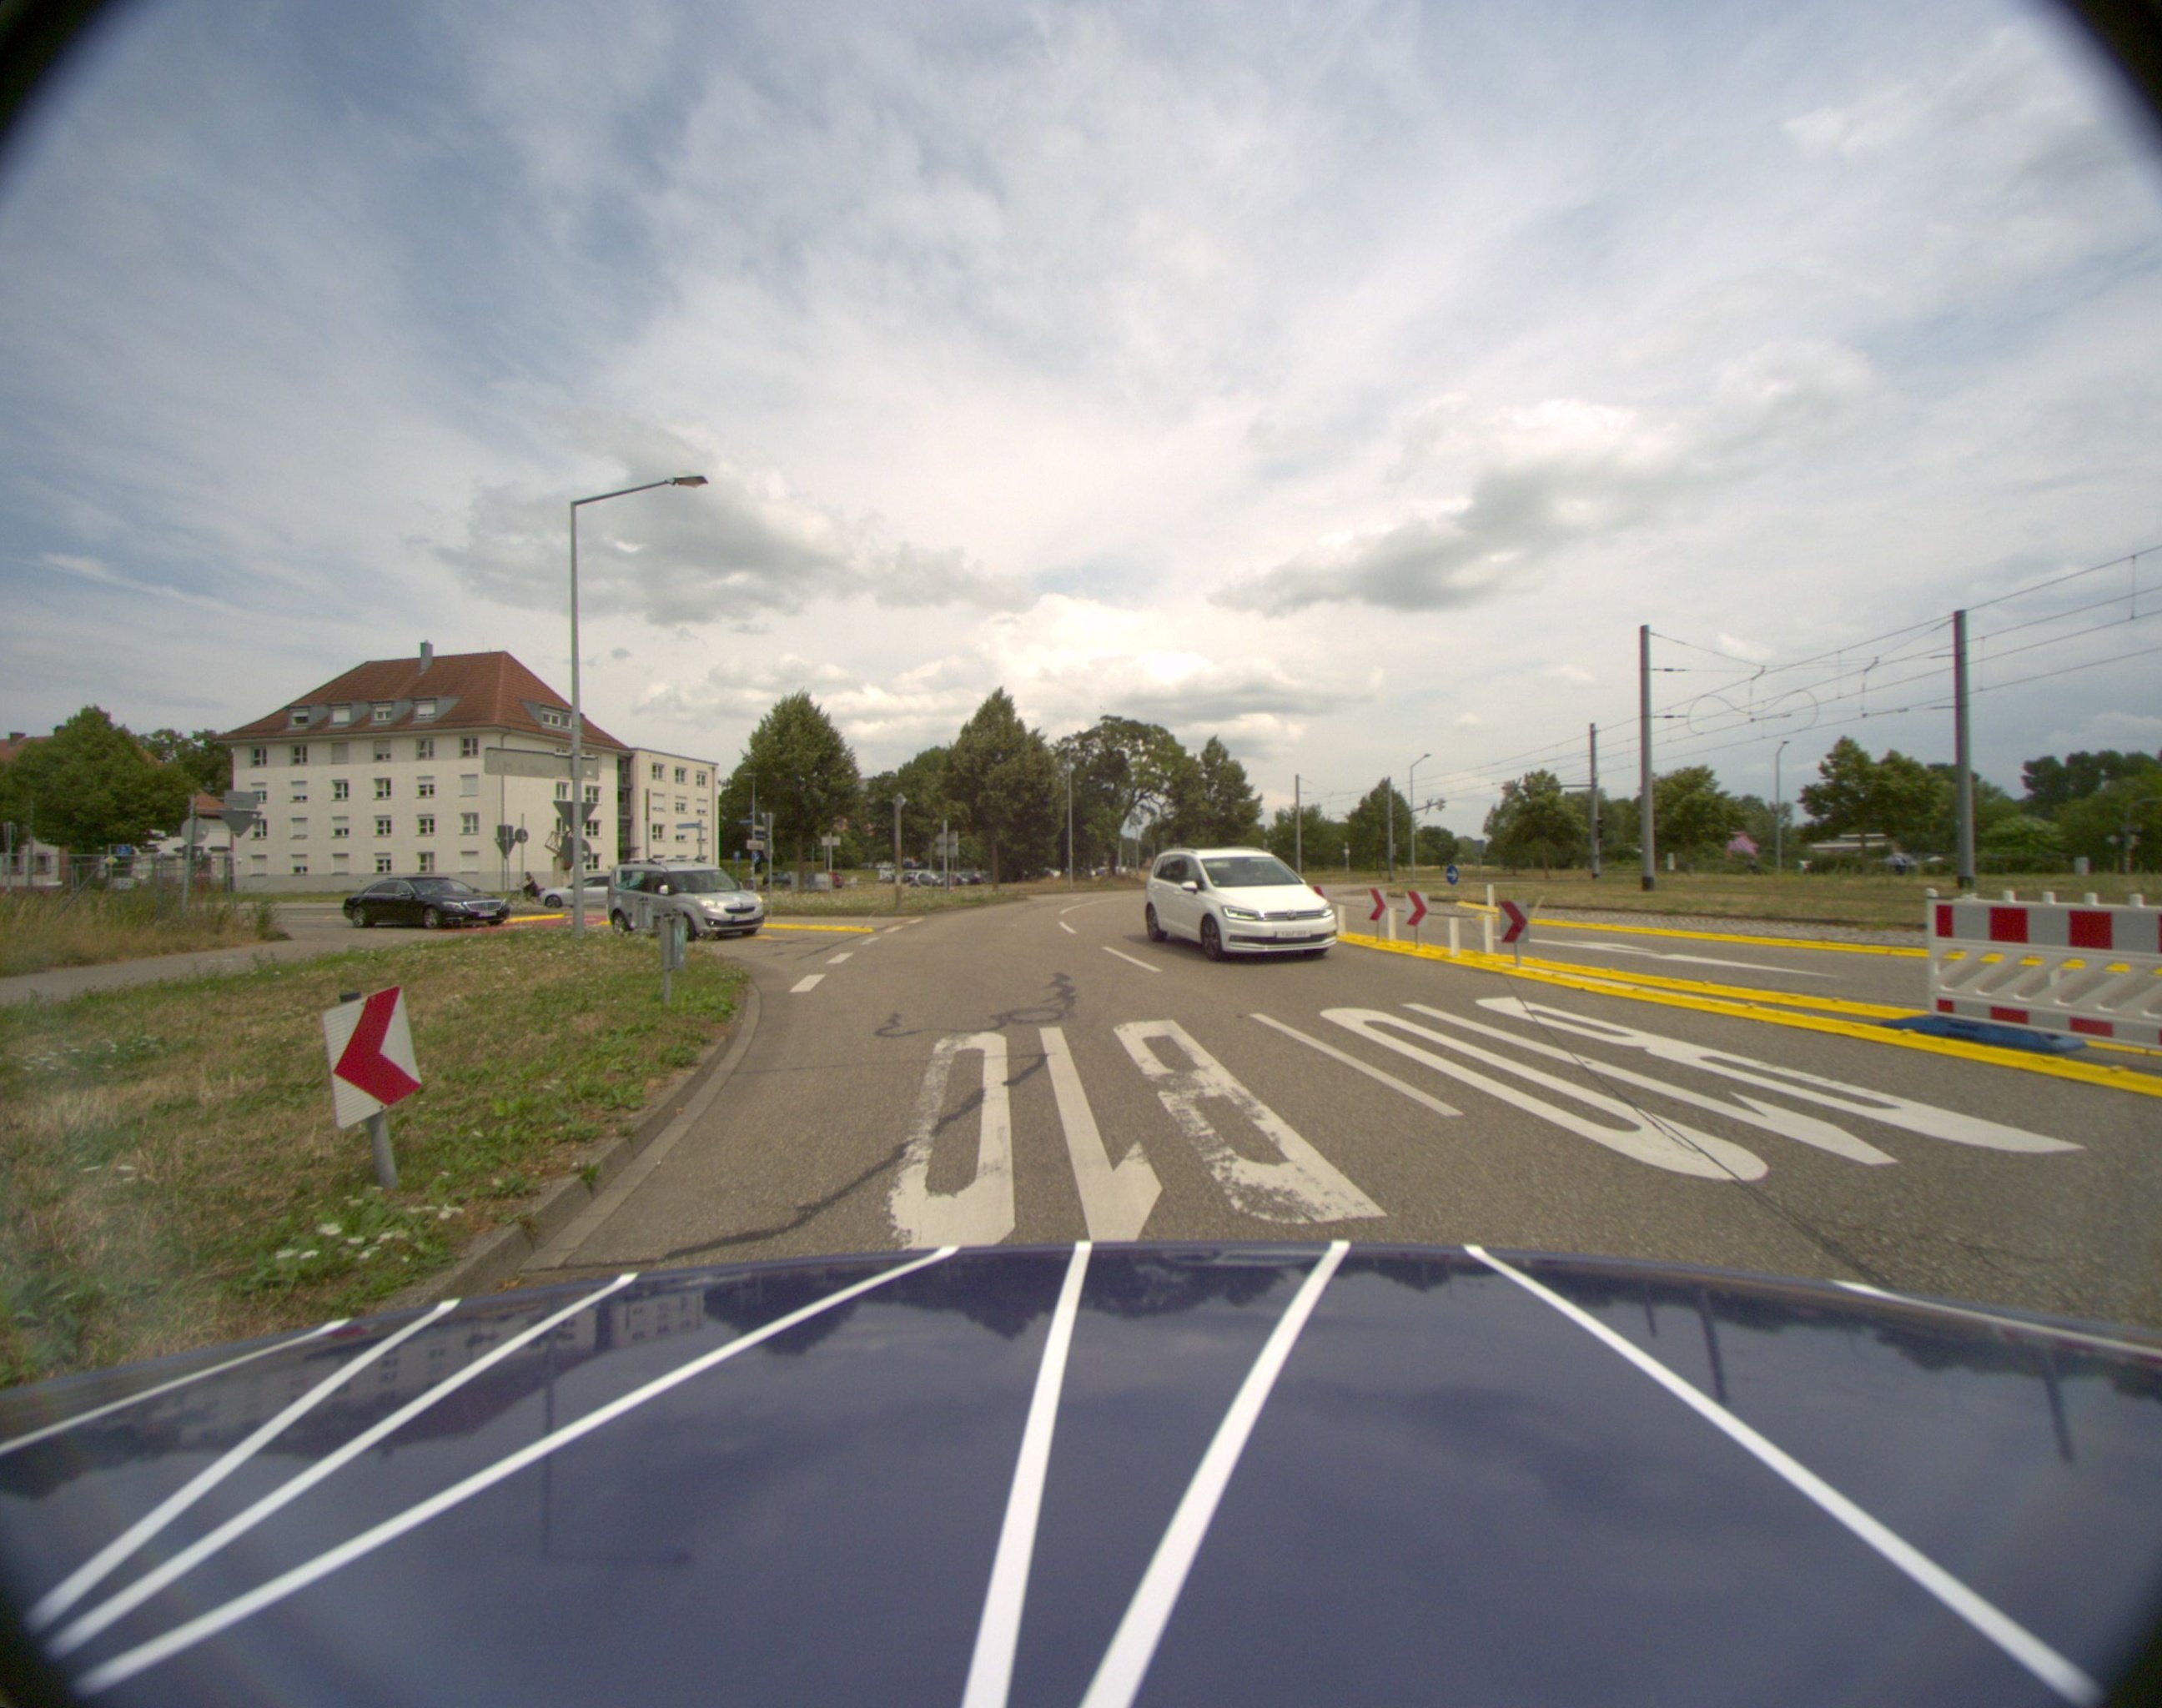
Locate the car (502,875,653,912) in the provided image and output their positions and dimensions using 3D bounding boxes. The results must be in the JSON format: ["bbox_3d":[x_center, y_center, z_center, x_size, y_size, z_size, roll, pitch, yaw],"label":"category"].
[{"bbox_3d":[-22.109,1.716,33.569,5.182,1.473,1.999,-1,0,-6],"label":"car"}]

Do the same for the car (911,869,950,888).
[{"bbox_3d":[-12.865,2.088,65.117,2.913,1.414,1.484,-3,-1,5],"label":"car"}]

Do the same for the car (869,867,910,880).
[{"bbox_3d":[-21.442,2.187,84.995,4.001,1.459,1.819,-1,0,10],"label":"car"}]

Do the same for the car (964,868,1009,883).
[{"bbox_3d":[-10.243,2.317,82.381,4.380,1.462,1.835,-1,0,11],"label":"car"}]

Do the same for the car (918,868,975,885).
[{"bbox_3d":[-12.432,2.106,70.438,4.881,1.462,1.835,-1,0,11],"label":"car"}]

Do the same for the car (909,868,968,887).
[{"bbox_3d":[-12.663,2.090,67.663,4.700,1.462,1.834,-3,-1,8],"label":"car"}]

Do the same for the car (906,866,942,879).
[{"bbox_3d":[-19.847,2.384,96.044,4.001,1.565,1.819,-1,-1,10],"label":"car"}]

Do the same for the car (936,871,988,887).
[{"bbox_3d":[-11.716,2.480,75.074,4.701,1.462,1.835,-1,0,11],"label":"car"}]

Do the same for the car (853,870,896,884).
[{"bbox_3d":[-22.061,2.438,81.160,4.001,1.459,1.819,-1,0,10],"label":"car"}]

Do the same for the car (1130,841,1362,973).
[{"bbox_3d":[2.390,0.715,12.329,1.939,1.656,4.350,-3,0,-13],"label":"car"}]

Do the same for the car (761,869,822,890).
[{"bbox_3d":[-25.079,2.228,65.883,4.493,1.754,2.002,-1,0,10],"label":"car"}]

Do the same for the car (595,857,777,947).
[{"bbox_3d":[-9.596,1.074,18.353,4.571,1.936,1.815,-1,0,32],"label":"car"}]

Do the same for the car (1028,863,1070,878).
[{"bbox_3d":[-4.523,2.294,106.873,5.561,2.044,2.203,-1,0,11],"label":"car"}]

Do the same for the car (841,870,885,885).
[{"bbox_3d":[-22.690,2.426,79.105,4.001,1.459,1.616,-1,0,10],"label":"car"}]

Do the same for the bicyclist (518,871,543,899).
[{"bbox_3d":[-28.161,1.593,38.887,0.601,1.415,0.804,-1,0,18],"label":"bicyclist"}]

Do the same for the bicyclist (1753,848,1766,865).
[{"bbox_3d":[58.842,0.228,65.868,0.866,1.401,0.672,-1,0,-36],"label":"bicyclist"}]

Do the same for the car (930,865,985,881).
[{"bbox_3d":[-11.805,1.787,72.702,4.881,1.462,1.835,-1,0,11],"label":"car"}]

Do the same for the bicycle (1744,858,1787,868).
[{"bbox_3d":[59.074,0.757,65.579,0.866,0.850,2.652,-1,-1,-36],"label":"bicycle"}]

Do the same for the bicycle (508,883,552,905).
[{"bbox_3d":[-28.168,2.014,38.867,0.601,1.040,1.832,-1,-1,18],"label":"bicycle"}]

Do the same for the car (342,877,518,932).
[{"bbox_3d":[-19.703,1.500,22.997,4.859,1.495,1.821,-2,0,19],"label":"car"}]

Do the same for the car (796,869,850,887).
[{"bbox_3d":[-24.211,2.265,71.320,4.400,1.588,2.002,-1,0,12],"label":"car"}]
